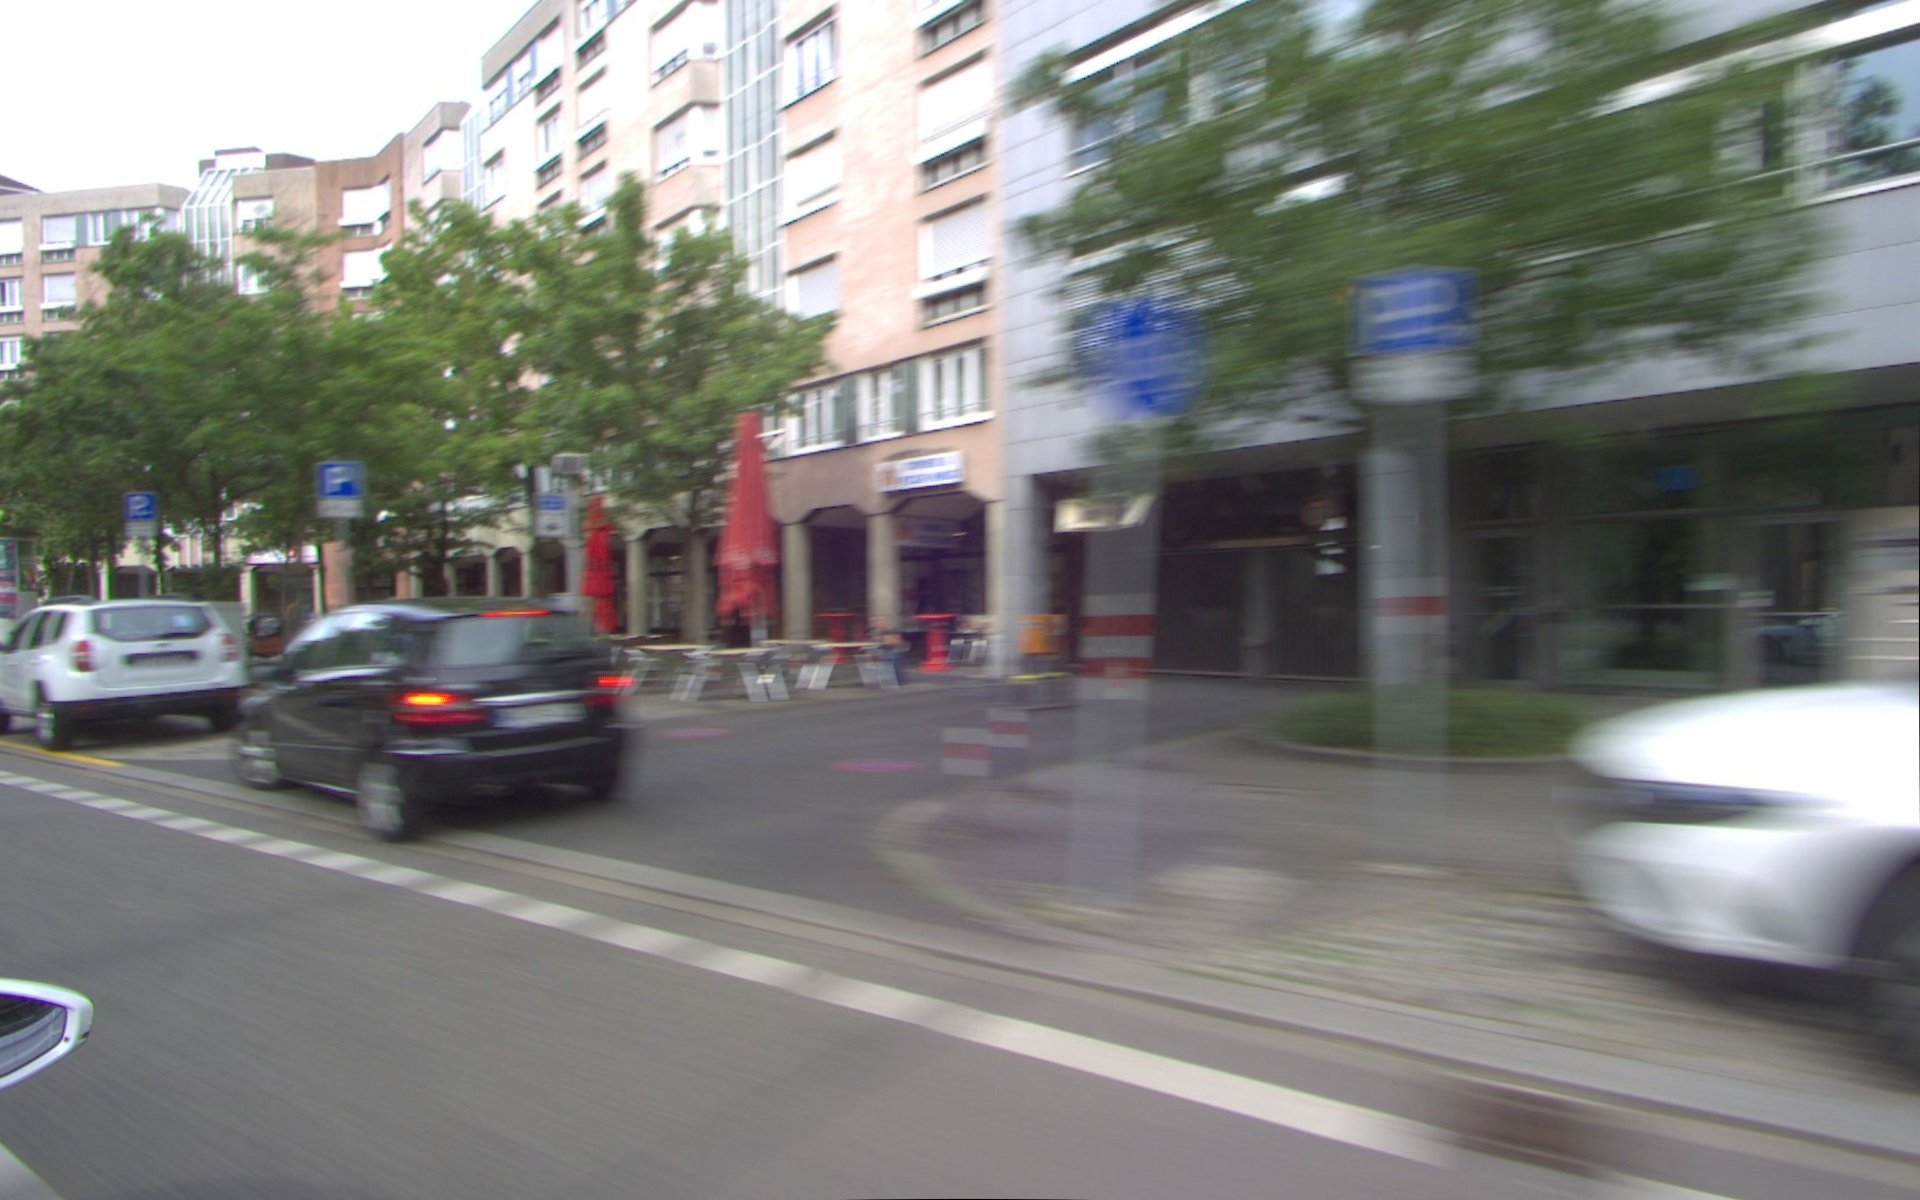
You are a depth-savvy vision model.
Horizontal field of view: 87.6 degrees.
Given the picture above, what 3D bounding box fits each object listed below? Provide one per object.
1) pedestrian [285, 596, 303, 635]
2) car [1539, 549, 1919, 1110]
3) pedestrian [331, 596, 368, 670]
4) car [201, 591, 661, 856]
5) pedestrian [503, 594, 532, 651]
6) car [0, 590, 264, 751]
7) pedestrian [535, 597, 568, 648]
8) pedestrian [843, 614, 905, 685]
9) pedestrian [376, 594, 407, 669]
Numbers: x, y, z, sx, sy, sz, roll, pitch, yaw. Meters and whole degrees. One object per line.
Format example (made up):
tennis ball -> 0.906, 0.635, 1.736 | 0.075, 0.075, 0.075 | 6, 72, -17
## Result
pedestrian -> -29.202, 0.695, 43.902 | 0.842, 1.684, 0.530 | 0, 0, 45
car -> 4.477, 0.629, 3.108 | 4.511, 1.625, 1.992 | 0, 3, 27
pedestrian -> -12.425, 0.671, 20.398 | 0.493, 1.499, 0.412 | 0, 1, 1
car -> -4.469, 0.763, 8.193 | 4.252, 1.598, 1.767 | 0, 2, 39
pedestrian -> -13.420, 0.674, 30.382 | 0.674, 1.684, 0.602 | 0, 0, 42
car -> -10.519, 0.737, 12.384 | 4.108, 1.675, 1.855 | 0, 1, 36
pedestrian -> -12.733, 0.695, 31.218 | 0.705, 1.576, 0.791 | -1, 1, -45
pedestrian -> -1.482, 0.835, 17.318 | 0.692, 1.172, 0.816 | 1, 1, 44
pedestrian -> -12.211, 0.669, 21.506 | 0.508, 1.590, 0.478 | 0, 0, -22
